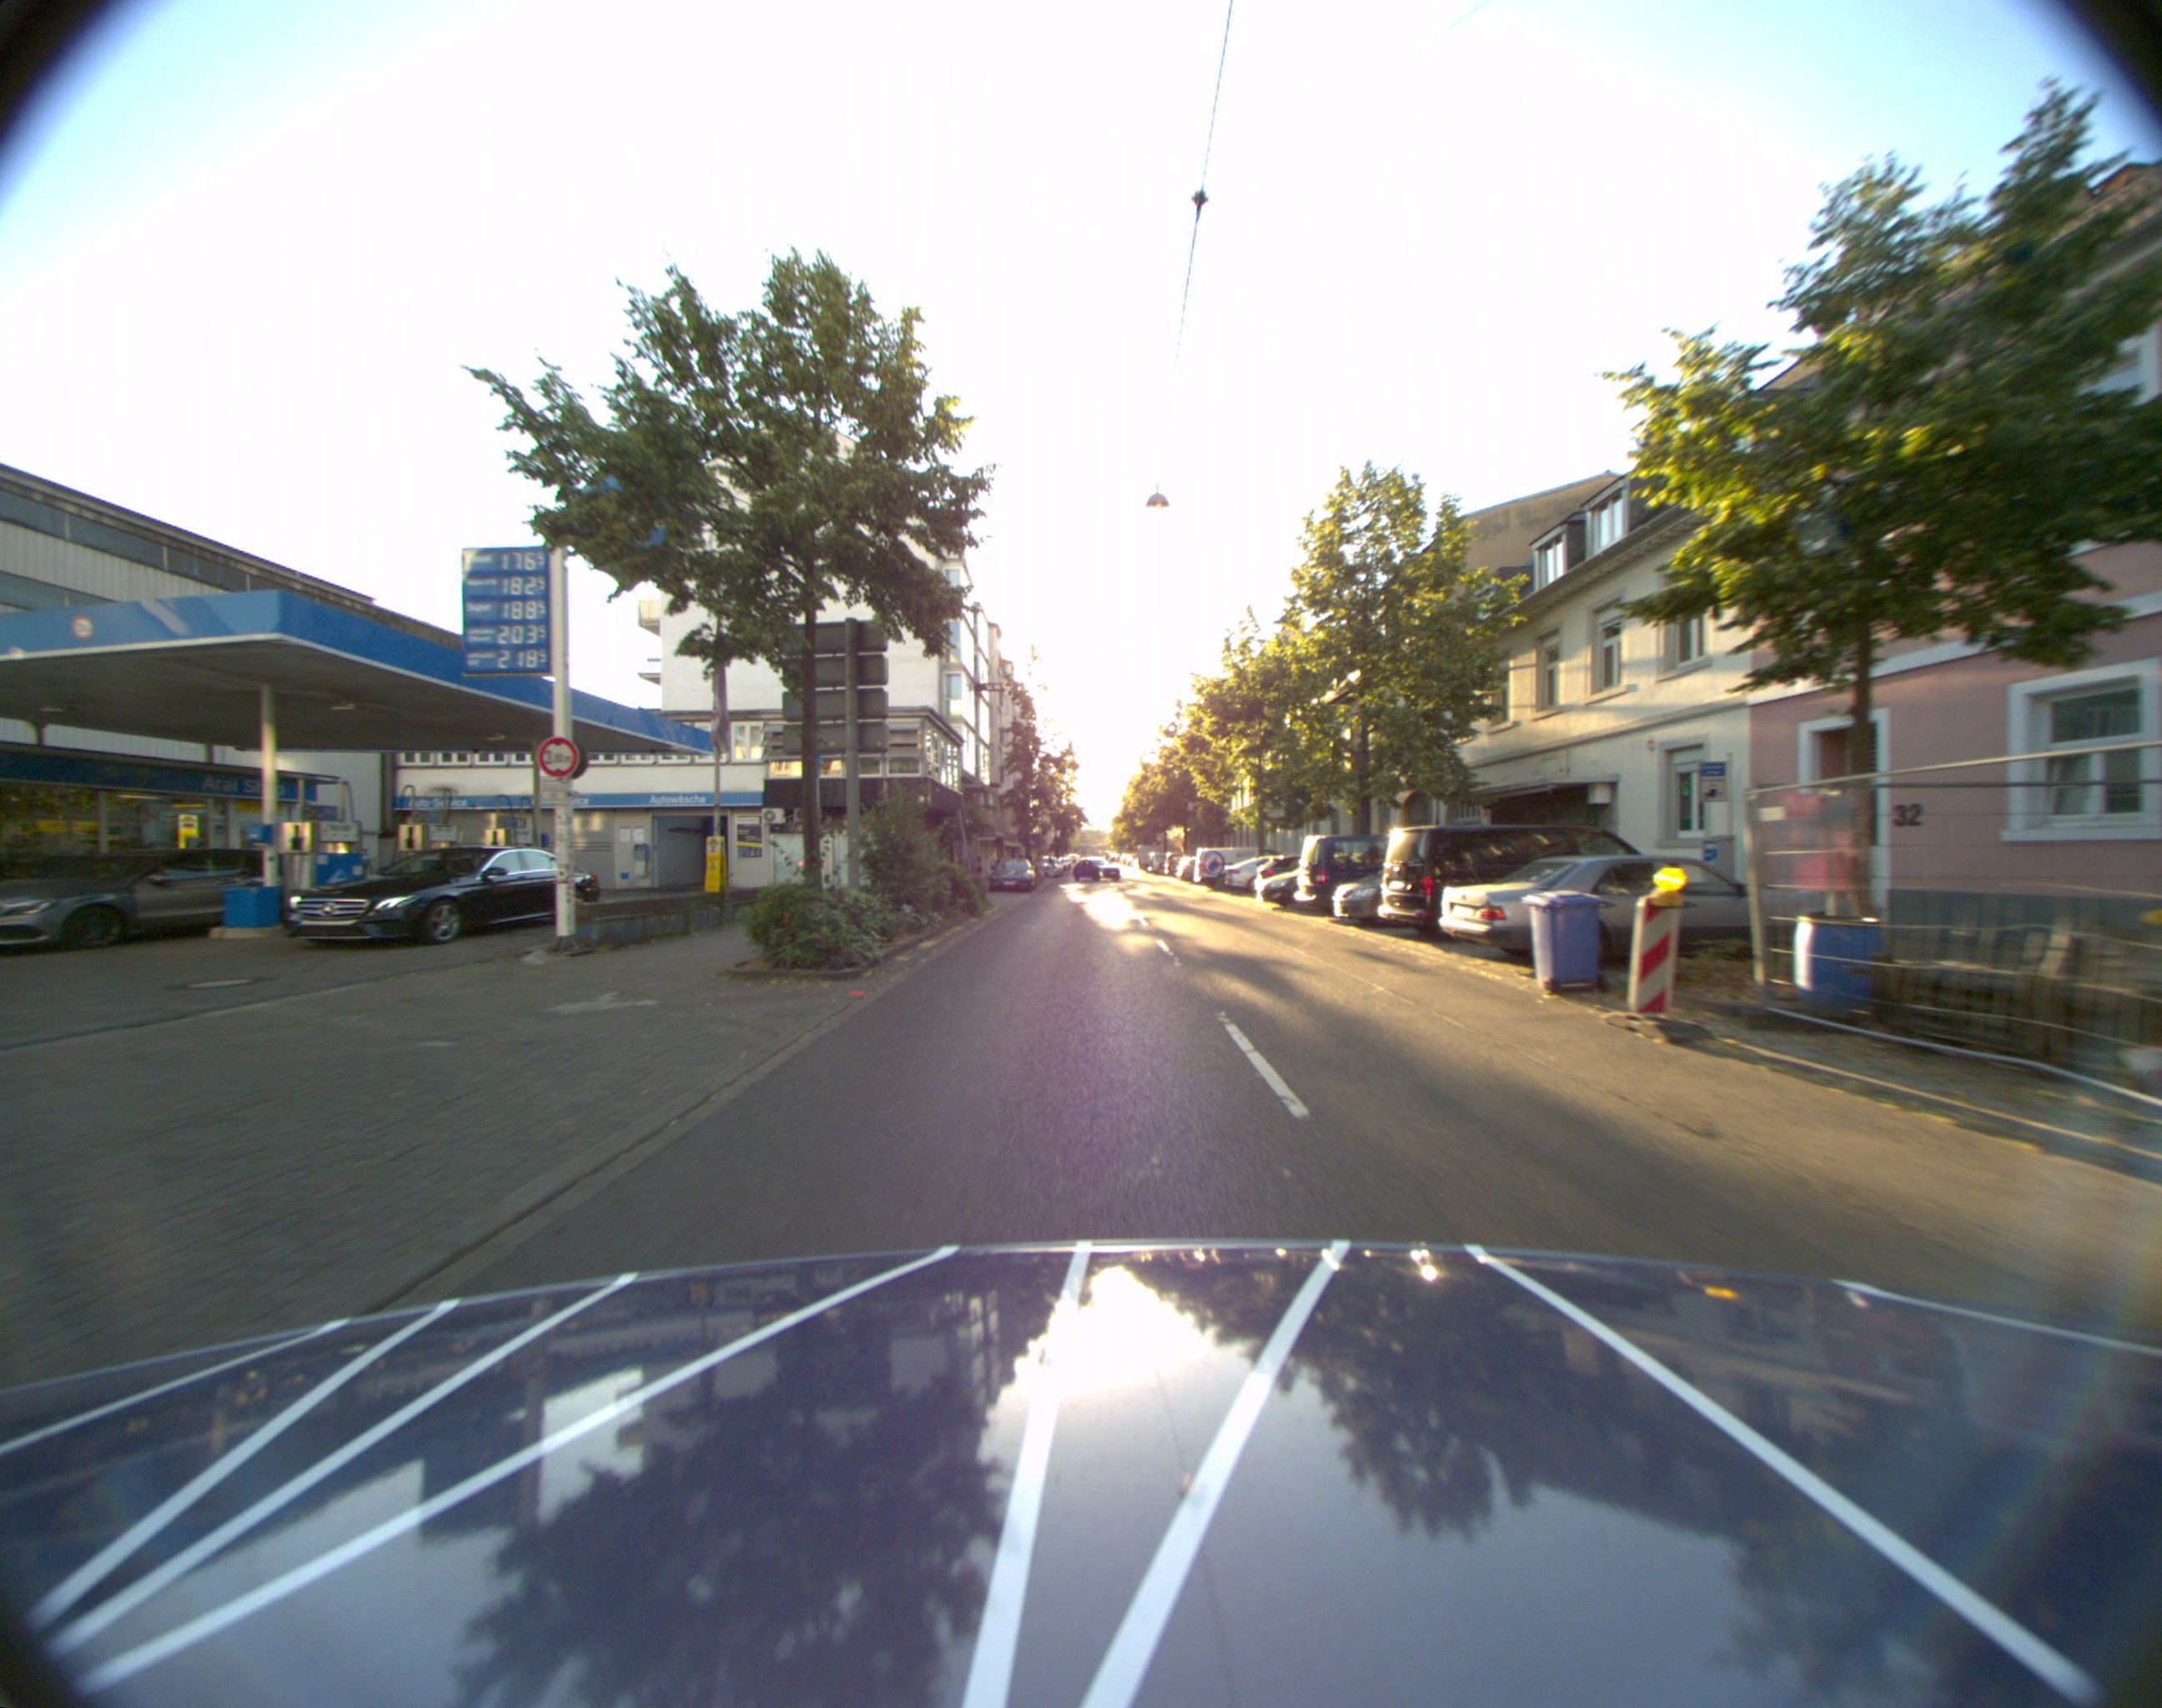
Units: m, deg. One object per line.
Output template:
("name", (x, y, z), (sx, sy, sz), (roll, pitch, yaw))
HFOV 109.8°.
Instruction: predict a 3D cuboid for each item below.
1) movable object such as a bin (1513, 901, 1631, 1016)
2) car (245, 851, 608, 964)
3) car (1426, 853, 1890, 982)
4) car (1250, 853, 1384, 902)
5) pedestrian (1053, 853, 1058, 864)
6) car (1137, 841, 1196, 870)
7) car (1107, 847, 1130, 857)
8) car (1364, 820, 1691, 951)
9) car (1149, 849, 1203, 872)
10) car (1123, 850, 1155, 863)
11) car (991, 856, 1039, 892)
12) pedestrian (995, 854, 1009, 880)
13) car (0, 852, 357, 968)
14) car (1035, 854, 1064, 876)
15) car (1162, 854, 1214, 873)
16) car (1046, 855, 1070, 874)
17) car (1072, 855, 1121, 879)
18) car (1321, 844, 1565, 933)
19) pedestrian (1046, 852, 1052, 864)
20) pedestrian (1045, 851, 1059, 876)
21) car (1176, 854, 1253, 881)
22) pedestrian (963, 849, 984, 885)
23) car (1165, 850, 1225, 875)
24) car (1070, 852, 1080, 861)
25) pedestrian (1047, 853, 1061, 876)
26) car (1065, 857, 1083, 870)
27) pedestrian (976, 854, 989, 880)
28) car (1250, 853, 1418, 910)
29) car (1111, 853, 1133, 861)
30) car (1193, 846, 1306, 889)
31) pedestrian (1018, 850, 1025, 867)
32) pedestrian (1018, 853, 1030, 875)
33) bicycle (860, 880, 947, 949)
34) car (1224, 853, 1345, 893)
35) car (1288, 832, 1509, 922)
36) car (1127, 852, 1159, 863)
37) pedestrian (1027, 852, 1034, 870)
("movable object such as a bin", (5.171, 1.071, 8.054), (0.691, 1.098, 0.883), (0, 0, 3))
("car", (-10.319, 0.713, 12.659), (1.739, 1.422, 4.907), (0, 1, 1))
("car", (7.315, 0.776, 10.071), (4.604, 1.461, 1.893), (-2, 0, 4))
("car", (7.863, 0.764, 25.616), (3.932, 1.492, 1.905), (-1, 0, 3))
("pedestrian", (-3.292, 0.601, 99.633), (0.626, 1.480, 0.640), (1, 1, 1))
("car", (8.583, 0.150, 76.659), (5.672, 2.606, 2.171), (-2, 0, 1))
("car", (8.468, -0.423, 173.092), (4.782, 2.344, 2.153), (-1, 0, -27))
("car", (7.538, 0.509, 13.172), (4.495, 1.964, 1.965), (-2, 0, -1))
("car", (8.194, 0.554, 66.044), (4.510, 1.942, 1.919), (-1, 0, 3))
("car", (8.891, 0.394, 116.002), (4.718, 1.800, 2.053), (-2, 0, 2))
("car", (-2.929, 0.873, 34.827), (1.833, 1.479, 4.849), (1, 0, -1))
("pedestrian", (-5.166, 0.827, 49.831), (0.790, 1.694, 0.700), (1, 1, 1))
("car", (-14.667, 0.710, 12.074), (1.714, 1.394, 4.758), (0, 1, 1))
("car", (-2.434, 0.833, 59.872), (1.884, 1.565, 4.692), (2, 0, 1))
("car", (8.880, 0.776, 63.297), (4.162, 1.431, 1.594), (-1, 0, 2))
("car", (-1.944, 0.895, 66.122), (1.846, 1.472, 5.190), (2, 0, 1))
("car", (0.921, 0.819, 49.060), (1.687, 1.453, 4.064), (-1, 0, -22))
("car", (7.375, 0.683, 15.807), (4.140, 1.627, 1.860), (-2, 0, 1))
("pedestrian", (-4.577, 0.609, 108.405), (0.756, 1.748, 0.812), (0, 1, 0))
("pedestrian", (-2.080, 0.675, 54.505), (0.924, 1.749, 0.762), (1, 1, 2))
("car", (7.636, 0.786, 43.761), (4.047, 1.475, 1.963), (-1, 0, 0))
("pedestrian", (-5.346, 0.645, 37.830), (0.858, 1.784, 0.997), (0, 0, 0))
("car", (8.336, 0.632, 55.730), (4.148, 1.796, 1.807), (-1, 0, 2))
("car", (-1.417, 0.502, 172.535), (1.867, 1.900, 4.256), (3, 0, 4))
("pedestrian", (-1.989, 0.792, 55.795), (0.924, 1.685, 0.762), (0, 1, 2))
("car", (-0.784, 1.042, 86.818), (1.778, 1.431, 5.001), (2, 0, 3))
("pedestrian", (-5.854, 0.785, 45.118), (0.612, 1.516, 0.773), (0, 0, 1))
("car", (7.446, 0.781, 22.630), (4.338, 1.492, 1.841), (-2, 0, -4))
("car", (8.442, 0.657, 156.146), (4.579, 1.548, 1.809), (-1, 0, -37))
("car", (7.895, 0.619, 35.880), (4.882, 1.897, 1.974), (-1, 0, 1))
("pedestrian", (-6.342, 0.449, 81.184), (0.590, 1.799, 0.836), (2, 1, 1))
("pedestrian", (-4.183, 0.729, 55.639), (0.829, 1.629, 0.827), (0, 1, 2))
("bicycle", (-3.219, 1.064, 13.919), (0.482, 1.136, 1.684), (2, 1, 31))
("car", (8.245, 0.745, 31.122), (4.488, 1.476, 1.734), (-1, 0, 3))
("car", (7.561, 0.531, 18.469), (4.494, 1.964, 2.068), (-1, 0, 1))
("car", (8.816, 0.549, 108.173), (4.393, 1.414, 1.822), (-2, 0, 0))
("pedestrian", (-5.436, 0.720, 81.302), (0.627, 1.857, 0.976), (2, 1, 1))
